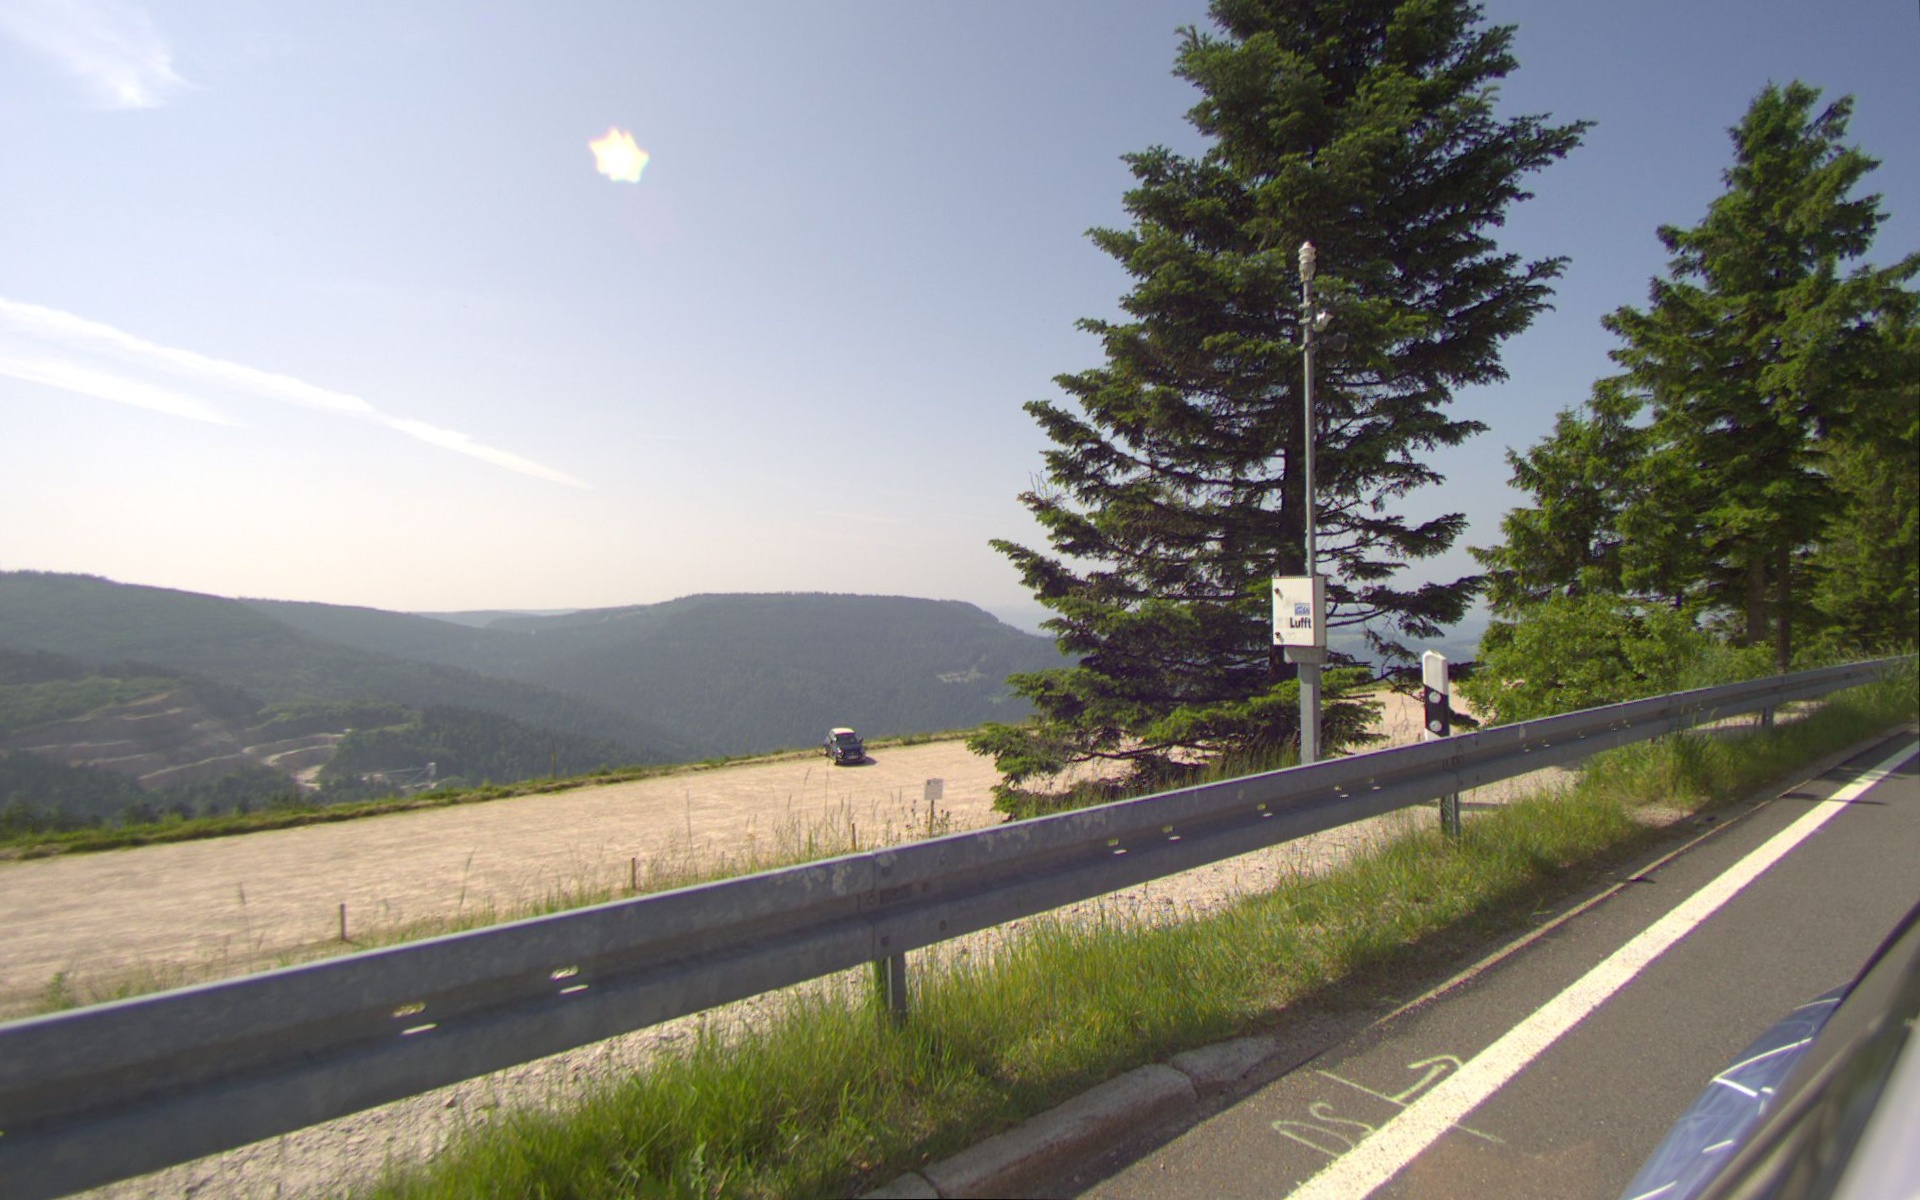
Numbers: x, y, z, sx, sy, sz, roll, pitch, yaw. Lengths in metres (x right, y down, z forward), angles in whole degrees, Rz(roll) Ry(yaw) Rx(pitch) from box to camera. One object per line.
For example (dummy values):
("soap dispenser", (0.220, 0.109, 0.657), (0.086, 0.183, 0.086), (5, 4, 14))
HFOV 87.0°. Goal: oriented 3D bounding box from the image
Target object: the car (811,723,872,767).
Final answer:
("car", (-6.104, 7.371, 51.852), (1.766, 1.687, 3.526), (1, 0, -32))
